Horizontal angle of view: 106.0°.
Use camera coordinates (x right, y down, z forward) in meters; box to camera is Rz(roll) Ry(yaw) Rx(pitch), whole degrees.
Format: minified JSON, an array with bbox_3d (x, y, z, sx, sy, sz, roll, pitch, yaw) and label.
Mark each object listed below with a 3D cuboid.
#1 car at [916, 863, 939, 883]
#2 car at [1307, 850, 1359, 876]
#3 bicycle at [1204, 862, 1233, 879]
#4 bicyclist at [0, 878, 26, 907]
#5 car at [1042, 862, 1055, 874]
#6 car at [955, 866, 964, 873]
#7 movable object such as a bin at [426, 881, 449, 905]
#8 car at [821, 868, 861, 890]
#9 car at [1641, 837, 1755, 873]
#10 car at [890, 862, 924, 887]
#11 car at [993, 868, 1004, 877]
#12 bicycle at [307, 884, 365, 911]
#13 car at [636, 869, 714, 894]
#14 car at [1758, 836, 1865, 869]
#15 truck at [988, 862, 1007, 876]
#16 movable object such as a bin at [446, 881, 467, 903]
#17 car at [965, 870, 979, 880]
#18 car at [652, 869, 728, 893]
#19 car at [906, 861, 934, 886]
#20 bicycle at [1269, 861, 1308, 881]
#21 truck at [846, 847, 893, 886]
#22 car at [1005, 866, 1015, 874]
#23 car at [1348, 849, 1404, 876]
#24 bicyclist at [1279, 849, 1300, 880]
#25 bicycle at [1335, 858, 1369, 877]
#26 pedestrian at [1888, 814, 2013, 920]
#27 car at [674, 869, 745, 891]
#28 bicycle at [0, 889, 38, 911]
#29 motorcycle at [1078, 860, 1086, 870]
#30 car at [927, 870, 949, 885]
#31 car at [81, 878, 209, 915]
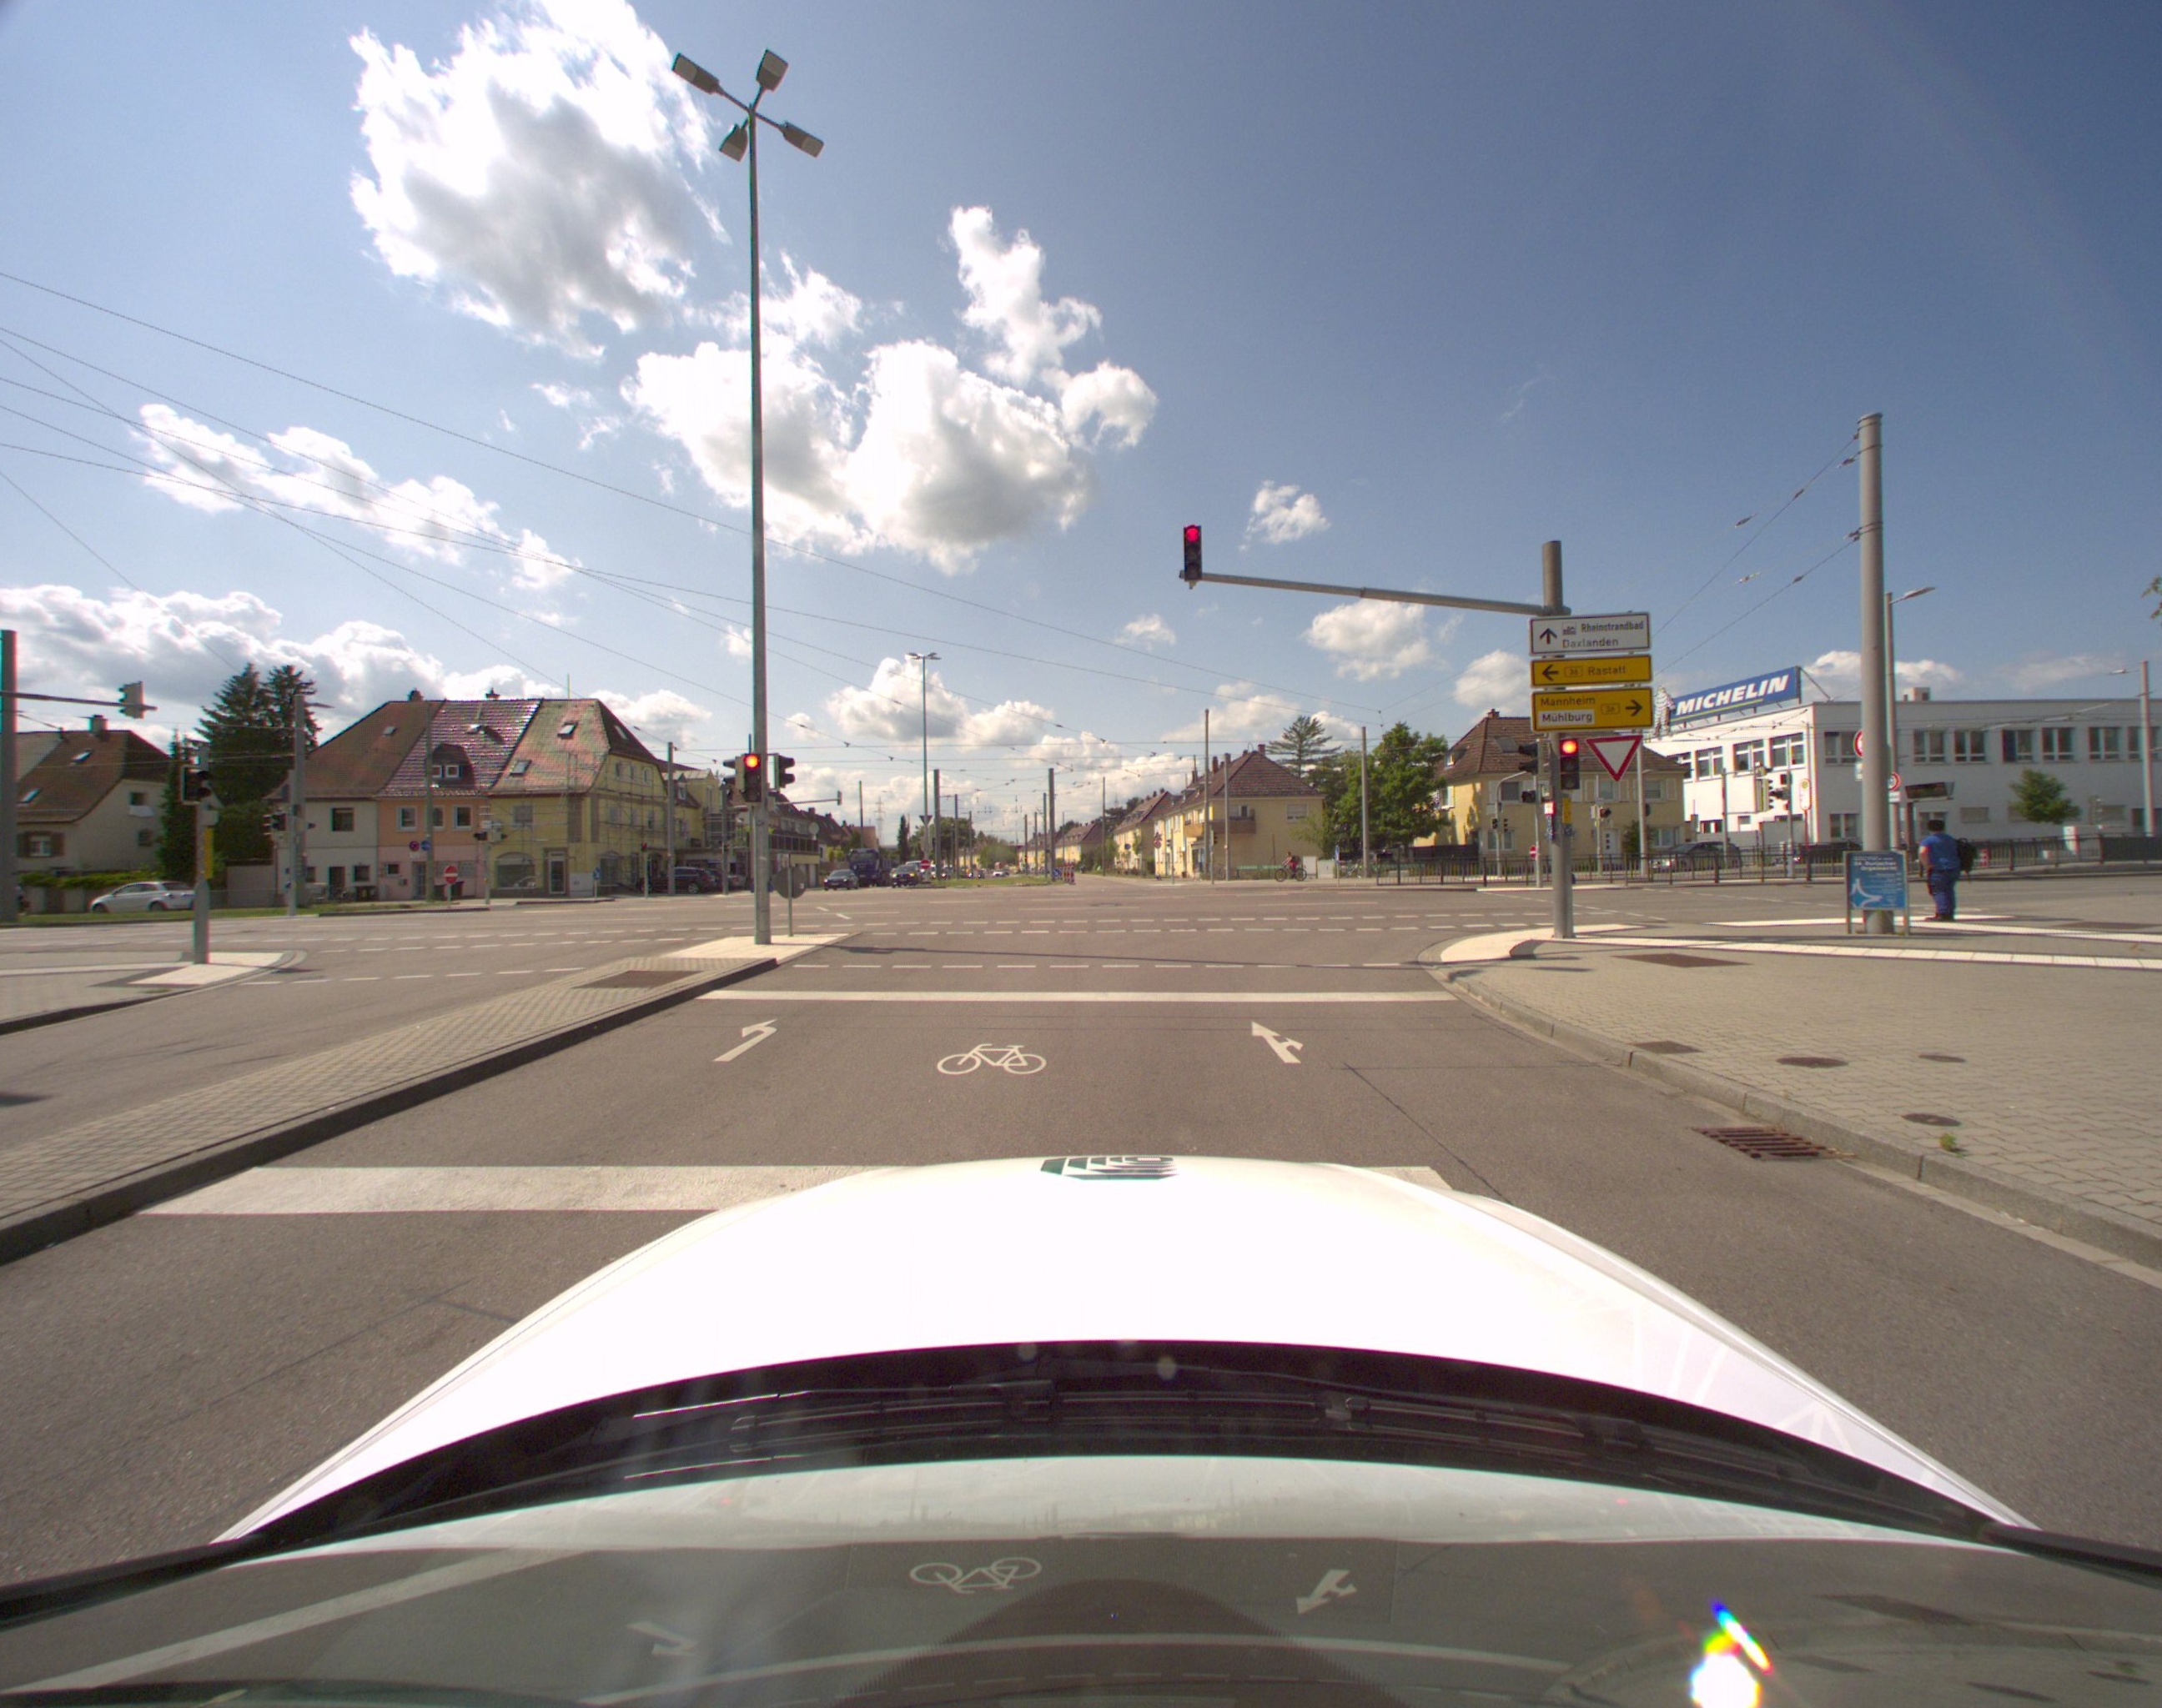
[{"bbox_3d":[-13.974,1.734,74.350,1.731,1.782,4.395,-2,-1,-6],"label":"car"},{"bbox_3d":[16.978,0.654,55.152,1.821,1.621,3.989,-1,-2,-8],"label":"car"},{"bbox_3d":[9.360,1.153,55.582,0.597,1.096,2.255,-1,-1,-30],"label":"bicycle"},{"bbox_3d":[-54.069,1.950,41.153,0.719,1.398,0.577,-1,0,0],"label":"bicyclist"},{"bbox_3d":[-6.382,2.774,157.641,2.064,2.149,4.865,-1,-1,-8],"label":"car"},{"bbox_3d":[-37.072,4.662,249.012,2.000,1.910,3.973,-1,0,-20],"label":"car"},{"bbox_3d":[-35.371,2.136,44.780,0.680,1.260,0.681,0,-1,-2],"label":"movable object such as a bin"},{"bbox_3d":[-17.233,1.789,58.650,1.824,1.487,4.328,-1,-1,-3],"label":"car"},{"bbox_3d":[28.965,0.058,38.325,3.974,1.568,1.842,-2,-1,-1],"label":"car"},{"bbox_3d":[-12.775,1.502,60.026,1.783,1.720,4.434,-1,0,-5],"label":"car"},{"bbox_3d":[-15.231,3.446,150.566,1.840,1.562,4.180,-2,-1,-5],"label":"car"},{"bbox_3d":[-40.801,2.357,44.649,0.770,1.356,2.460,0,-1,3],"label":"bicycle"},{"bbox_3d":[-25.083,1.713,50.378,4.129,1.493,1.176,0,-1,-7],"label":"car"},{"bbox_3d":[34.921,-0.071,38.977,3.698,1.446,1.576,-2,-1,-1],"label":"car"},{"bbox_3d":[-22.401,4.006,218.312,2.651,3.494,9.368,-1,-1,-21],"label":"truck"},{"bbox_3d":[-35.346,2.147,46.115,0.680,1.260,0.681,0,-1,-2],"label":"movable object such as a bin"},{"bbox_3d":[-16.635,3.219,124.600,1.840,1.494,4.847,-2,-1,-5],"label":"car"},{"bbox_3d":[-25.445,1.734,53.064,4.129,1.493,1.504,0,-1,-7],"label":"car"},{"bbox_3d":[-13.101,1.540,66.455,1.812,1.922,4.737,-1,-1,-6],"label":"car"},{"bbox_3d":[12.142,0.978,47.665,2.024,1.102,0.714,-1,-1,-6],"label":"bicycle"},{"bbox_3d":[-18.157,1.096,70.291,2.765,3.188,7.565,-1,-1,-6],"label":"truck"},{"bbox_3d":[-15.539,3.428,177.529,1.814,1.552,3.997,-2,0,-2],"label":"car"},{"bbox_3d":[19.768,0.584,54.721,1.821,1.621,3.989,-1,-2,-8],"label":"car"},{"bbox_3d":[12.264,0.616,47.911,0.956,1.775,0.718,-1,-1,-5],"label":"bicyclist"},{"bbox_3d":[16.047,0.787,48.269,1.785,1.105,0.707,-2,-1,41],"label":"bicycle"},{"bbox_3d":[15.052,0.214,14.128,1.027,1.735,1.040,-1,0,-2],"label":"pedestrian"},{"bbox_3d":[-25.390,1.792,55.776,4.129,1.493,1.431,0,-1,-7],"label":"car"},{"bbox_3d":[-54.158,2.326,41.144,1.894,1.078,0.694,-1,0,-2],"label":"bicycle"},{"bbox_3d":[0.201,1.845,132.261,1.065,1.635,2.079,-1,-1,-6],"label":"motorcycle"},{"bbox_3d":[-14.248,2.337,81.298,1.912,1.419,3.991,-1,-1,-6],"label":"car"},{"bbox_3d":[-40.600,1.842,35.373,3.533,1.508,1.583,0,-1,-4],"label":"car"}]
